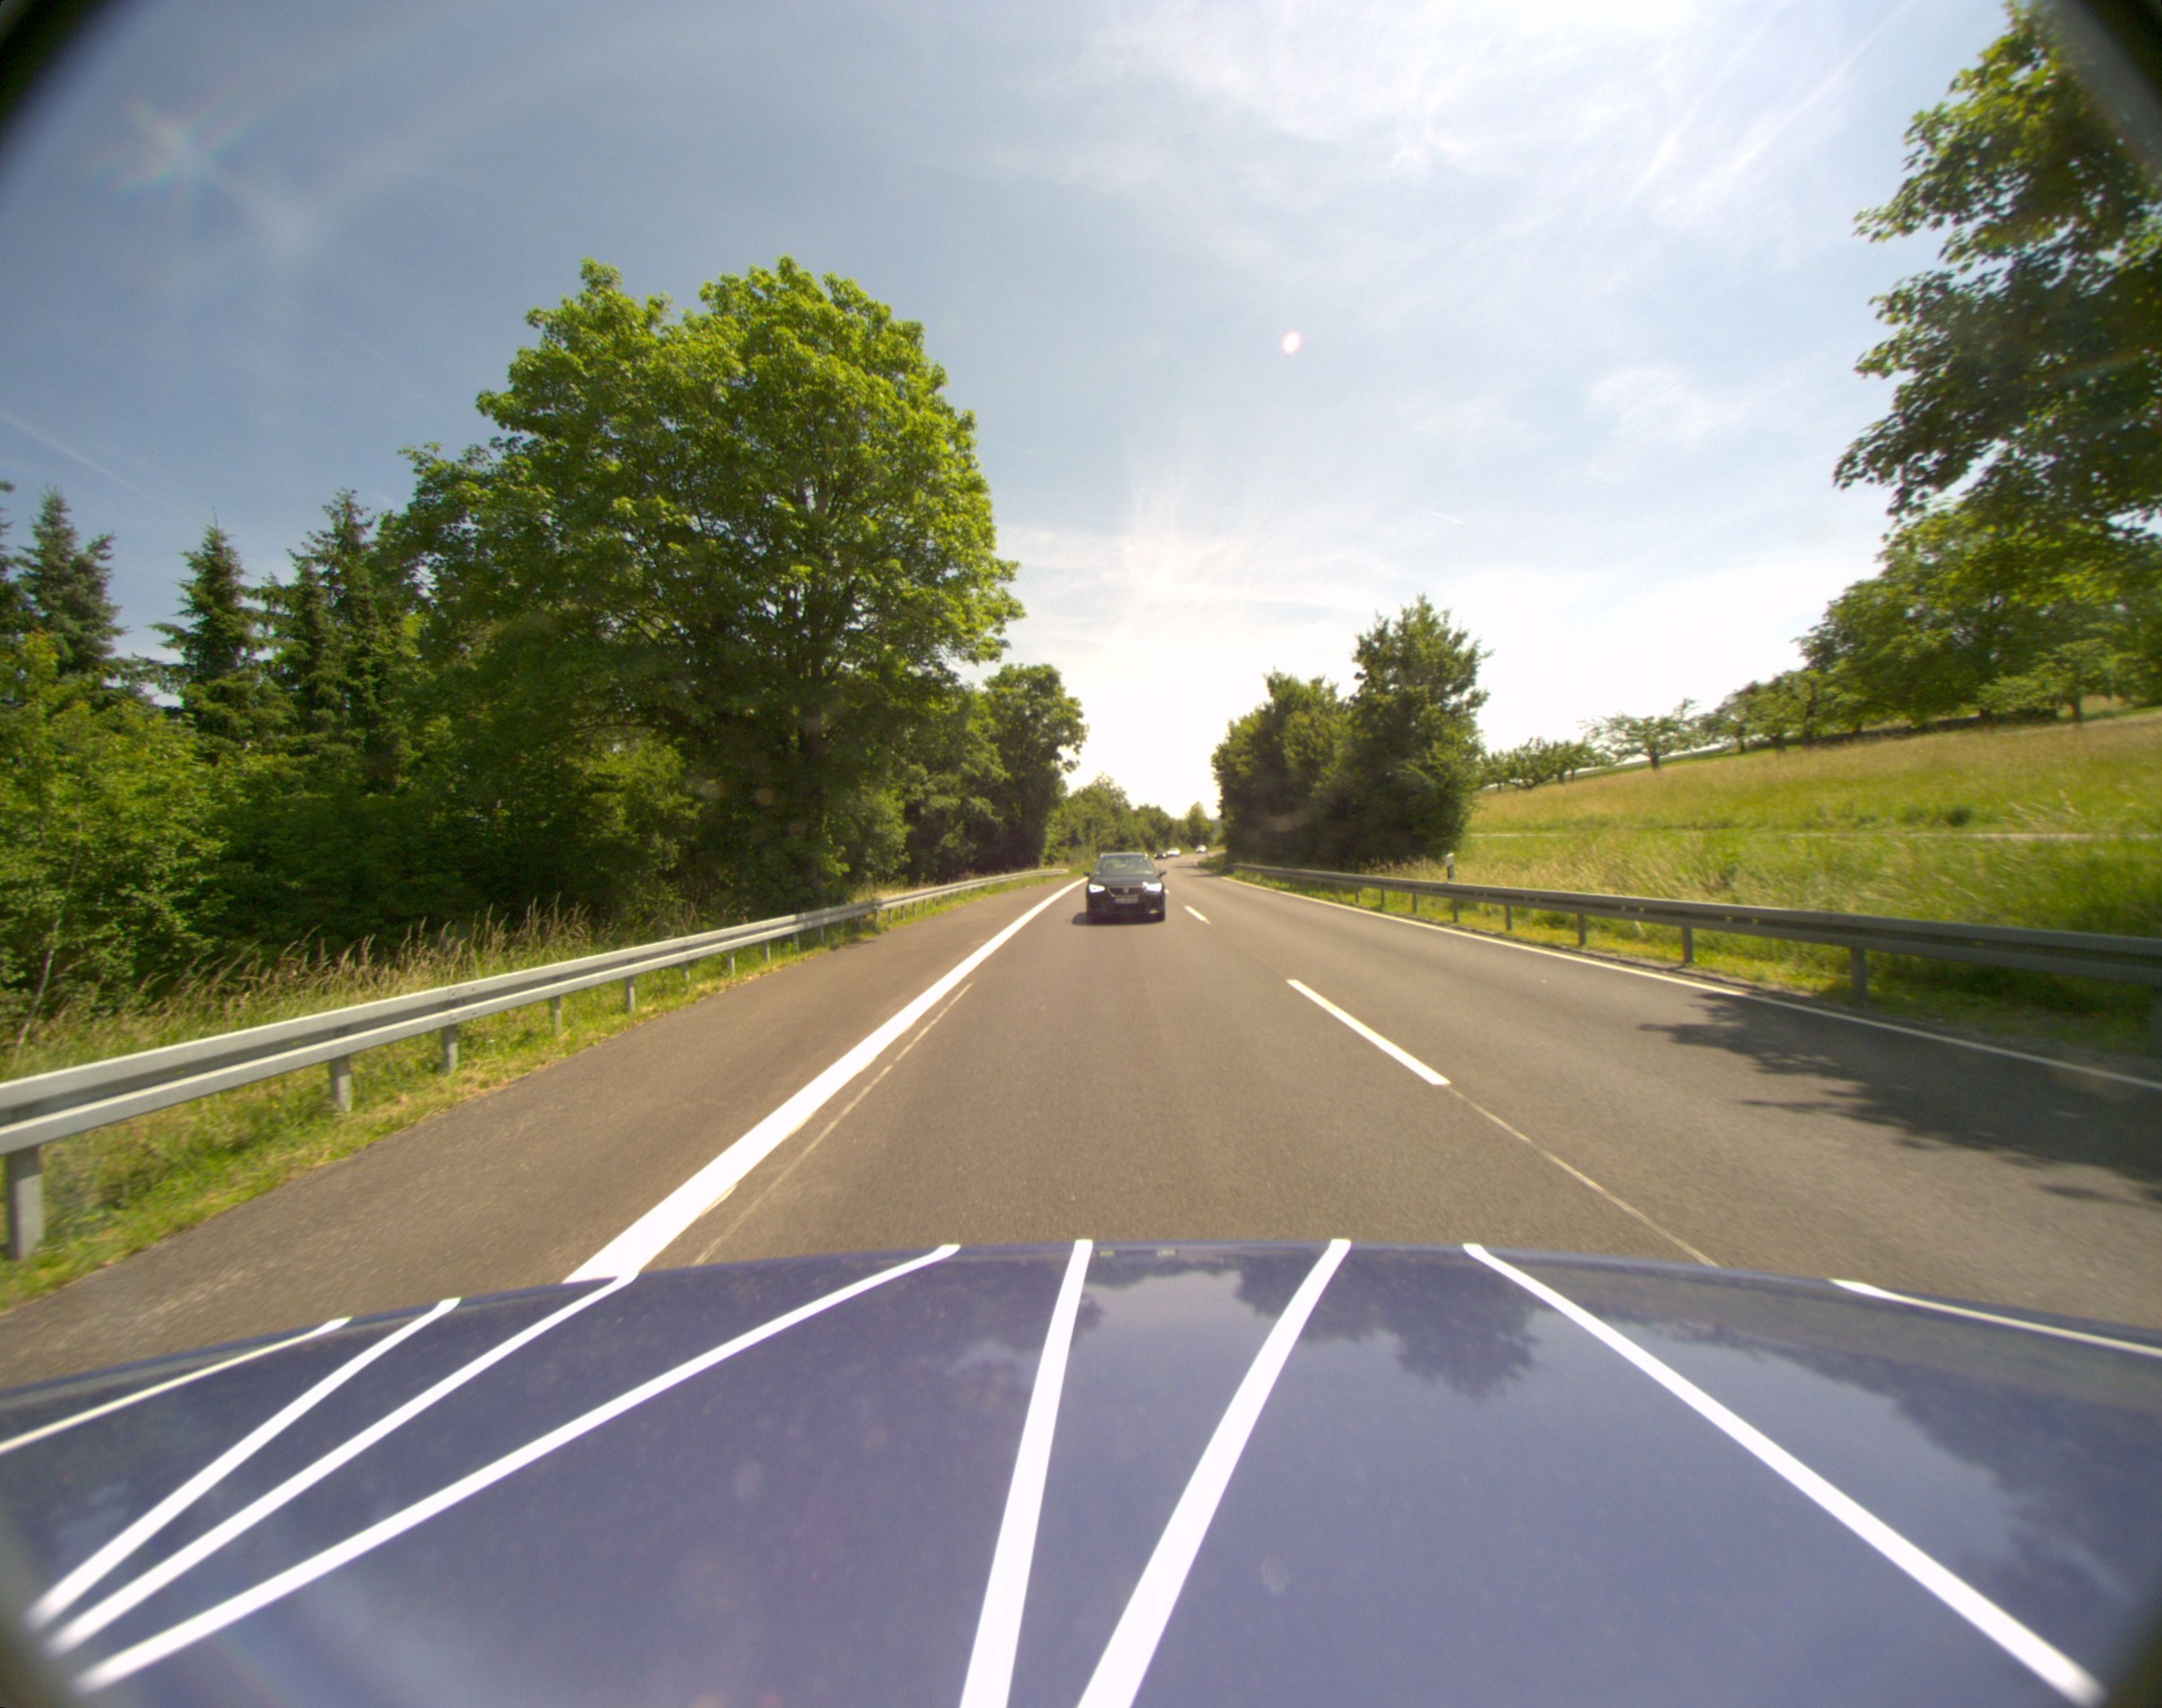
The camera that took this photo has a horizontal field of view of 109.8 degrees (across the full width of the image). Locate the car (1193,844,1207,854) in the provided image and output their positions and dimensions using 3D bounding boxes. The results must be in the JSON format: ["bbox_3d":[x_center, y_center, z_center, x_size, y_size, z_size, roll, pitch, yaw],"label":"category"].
[{"bbox_3d":[25.361,-1.022,162.384,1.995,2.002,4.006,-2,0,22],"label":"car"}]

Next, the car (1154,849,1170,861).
[{"bbox_3d":[11.973,0.160,112.694,1.882,1.698,4.004,-1,0,13],"label":"car"}]

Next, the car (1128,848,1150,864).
[{"bbox_3d":[6.185,0.205,80.695,1.882,1.698,4.003,-1,0,10],"label":"car"}]

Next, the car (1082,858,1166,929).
[{"bbox_3d":[1.088,0.846,17.870,1.737,1.467,4.002,-1,0,5],"label":"car"}]

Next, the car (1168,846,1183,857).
[{"bbox_3d":[16.752,-0.469,134.948,1.996,2.002,4.005,-1,0,17],"label":"car"}]
